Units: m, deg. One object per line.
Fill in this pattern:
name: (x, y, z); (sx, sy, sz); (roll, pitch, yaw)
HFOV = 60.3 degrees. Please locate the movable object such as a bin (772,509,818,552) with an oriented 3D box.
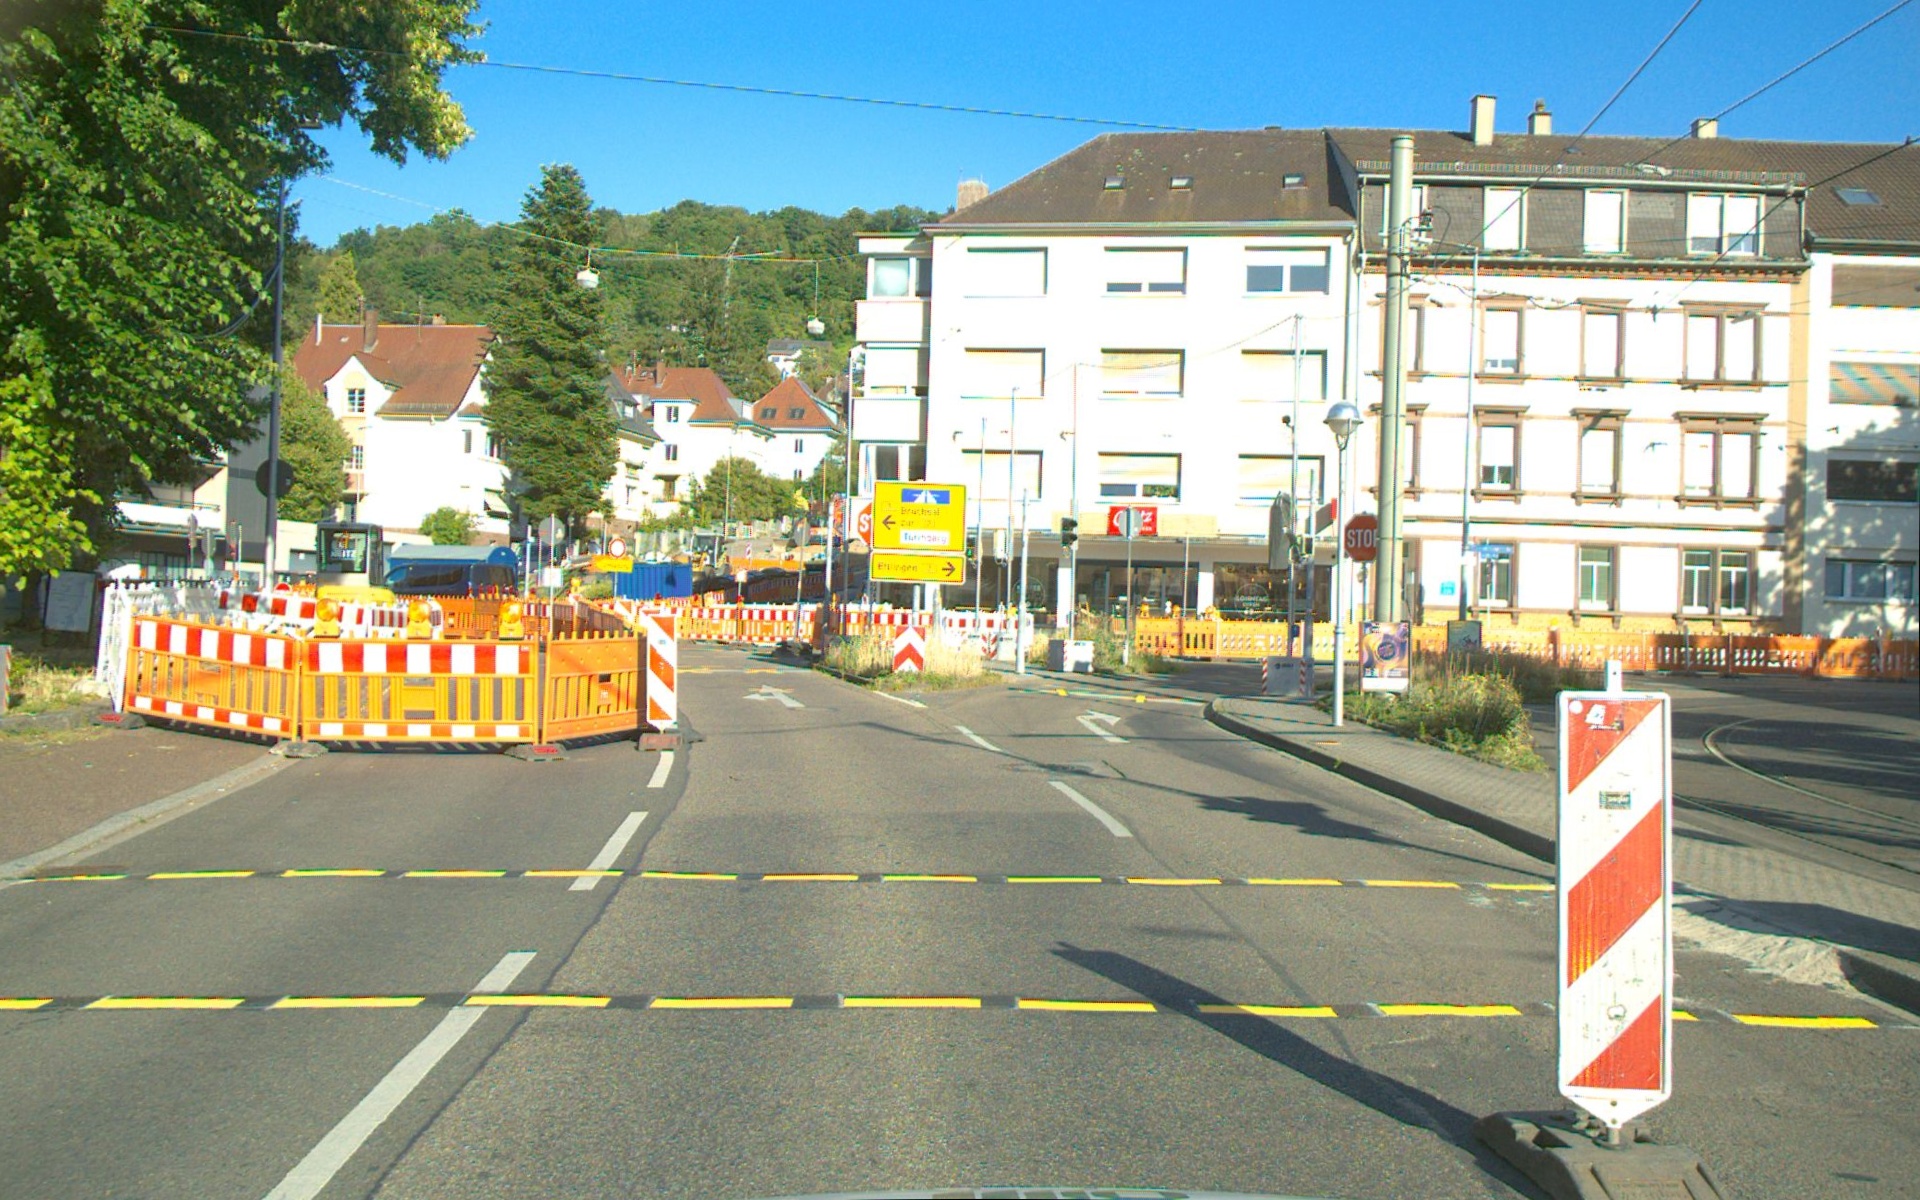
movable object such as a bin: (-11.320, -4.775, 113.641); (2.144, 2.737, 4.003); (1, 0, 9)

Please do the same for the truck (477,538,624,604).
truck: (-16.739, -1.104, 68.405); (2.306, 2.458, 9.159); (1, 0, 10)

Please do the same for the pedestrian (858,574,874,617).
pedestrian: (-3.975, -0.203, 69.894); (0.627, 1.791, 0.718); (1, 0, -1)

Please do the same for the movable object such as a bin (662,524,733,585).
movable object such as a bin: (-12.532, -2.161, 79.151); (2.144, 2.737, 4.003); (1, 0, 9)

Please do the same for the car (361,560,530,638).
car: (-14.391, -0.052, 46.118); (4.904, 2.049, 2.059); (1, 0, 38)
